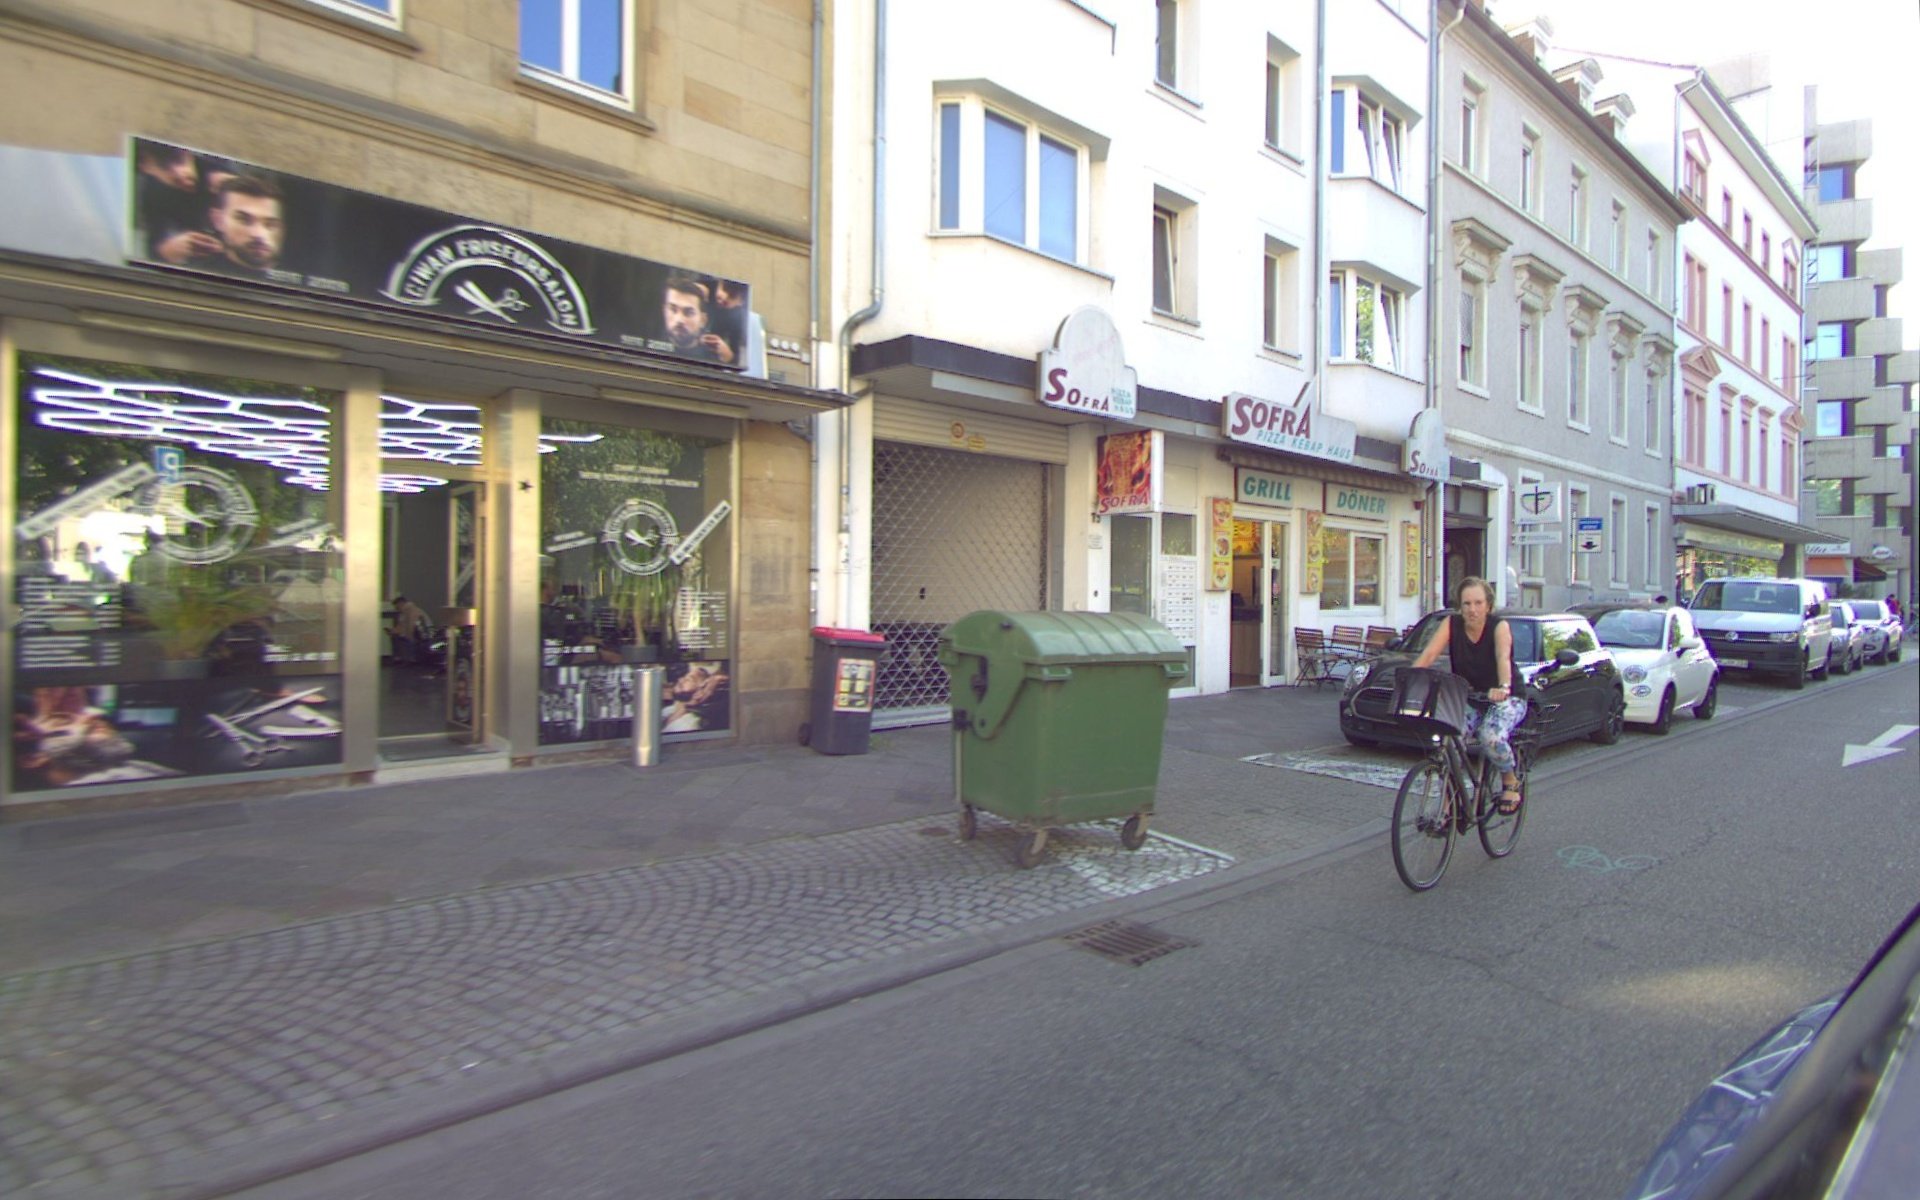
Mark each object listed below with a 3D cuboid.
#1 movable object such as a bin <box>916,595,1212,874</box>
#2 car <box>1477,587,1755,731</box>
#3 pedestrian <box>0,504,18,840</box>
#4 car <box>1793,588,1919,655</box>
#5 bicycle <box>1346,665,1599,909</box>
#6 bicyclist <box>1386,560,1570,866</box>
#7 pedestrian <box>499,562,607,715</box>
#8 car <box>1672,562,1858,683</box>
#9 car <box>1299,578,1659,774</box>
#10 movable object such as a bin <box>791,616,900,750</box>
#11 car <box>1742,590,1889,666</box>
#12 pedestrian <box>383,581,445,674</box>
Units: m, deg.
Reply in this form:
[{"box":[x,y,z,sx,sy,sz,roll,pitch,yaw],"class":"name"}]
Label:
[{"box":[0.640,0.727,6.333,1.385,1.439,1.149,0,3,-37],"class":"movable object such as a bin"},{"box":[8.654,0.644,13.237,3.930,1.509,1.998,0,3,-41],"class":"car"},{"box":[-5.385,0.376,5.337,0.534,1.764,0.588,0,-1,45],"class":"pedestrian"},{"box":[22.907,0.491,25.801,3.887,1.470,1.997,0,3,-42],"class":"car"},{"box":[2.986,0.971,5.811,1.804,1.081,0.666,0,0,-41],"class":"bicycle"},{"box":[2.974,0.586,5.806,0.893,1.591,0.658,0,0,-41],"class":"bicyclist"},{"box":[-4.025,0.362,10.066,0.799,1.441,0.696,2,2,-4],"class":"pedestrian"},{"box":[15.506,0.345,19.382,5.015,1.977,1.996,0,3,-43],"class":"car"},{"box":[5.538,0.628,10.630,3.930,1.593,1.998,0,3,-41],"class":"car"},{"box":[-1.011,0.709,8.875,0.650,1.061,0.727,3,2,-31],"class":"movable object such as a bin"},{"box":[19.258,0.552,22.734,3.803,1.470,1.997,0,3,-42],"class":"car"},{"box":[-7.673,0.368,14.225,0.525,1.257,0.544,2,2,17],"class":"pedestrian"}]
